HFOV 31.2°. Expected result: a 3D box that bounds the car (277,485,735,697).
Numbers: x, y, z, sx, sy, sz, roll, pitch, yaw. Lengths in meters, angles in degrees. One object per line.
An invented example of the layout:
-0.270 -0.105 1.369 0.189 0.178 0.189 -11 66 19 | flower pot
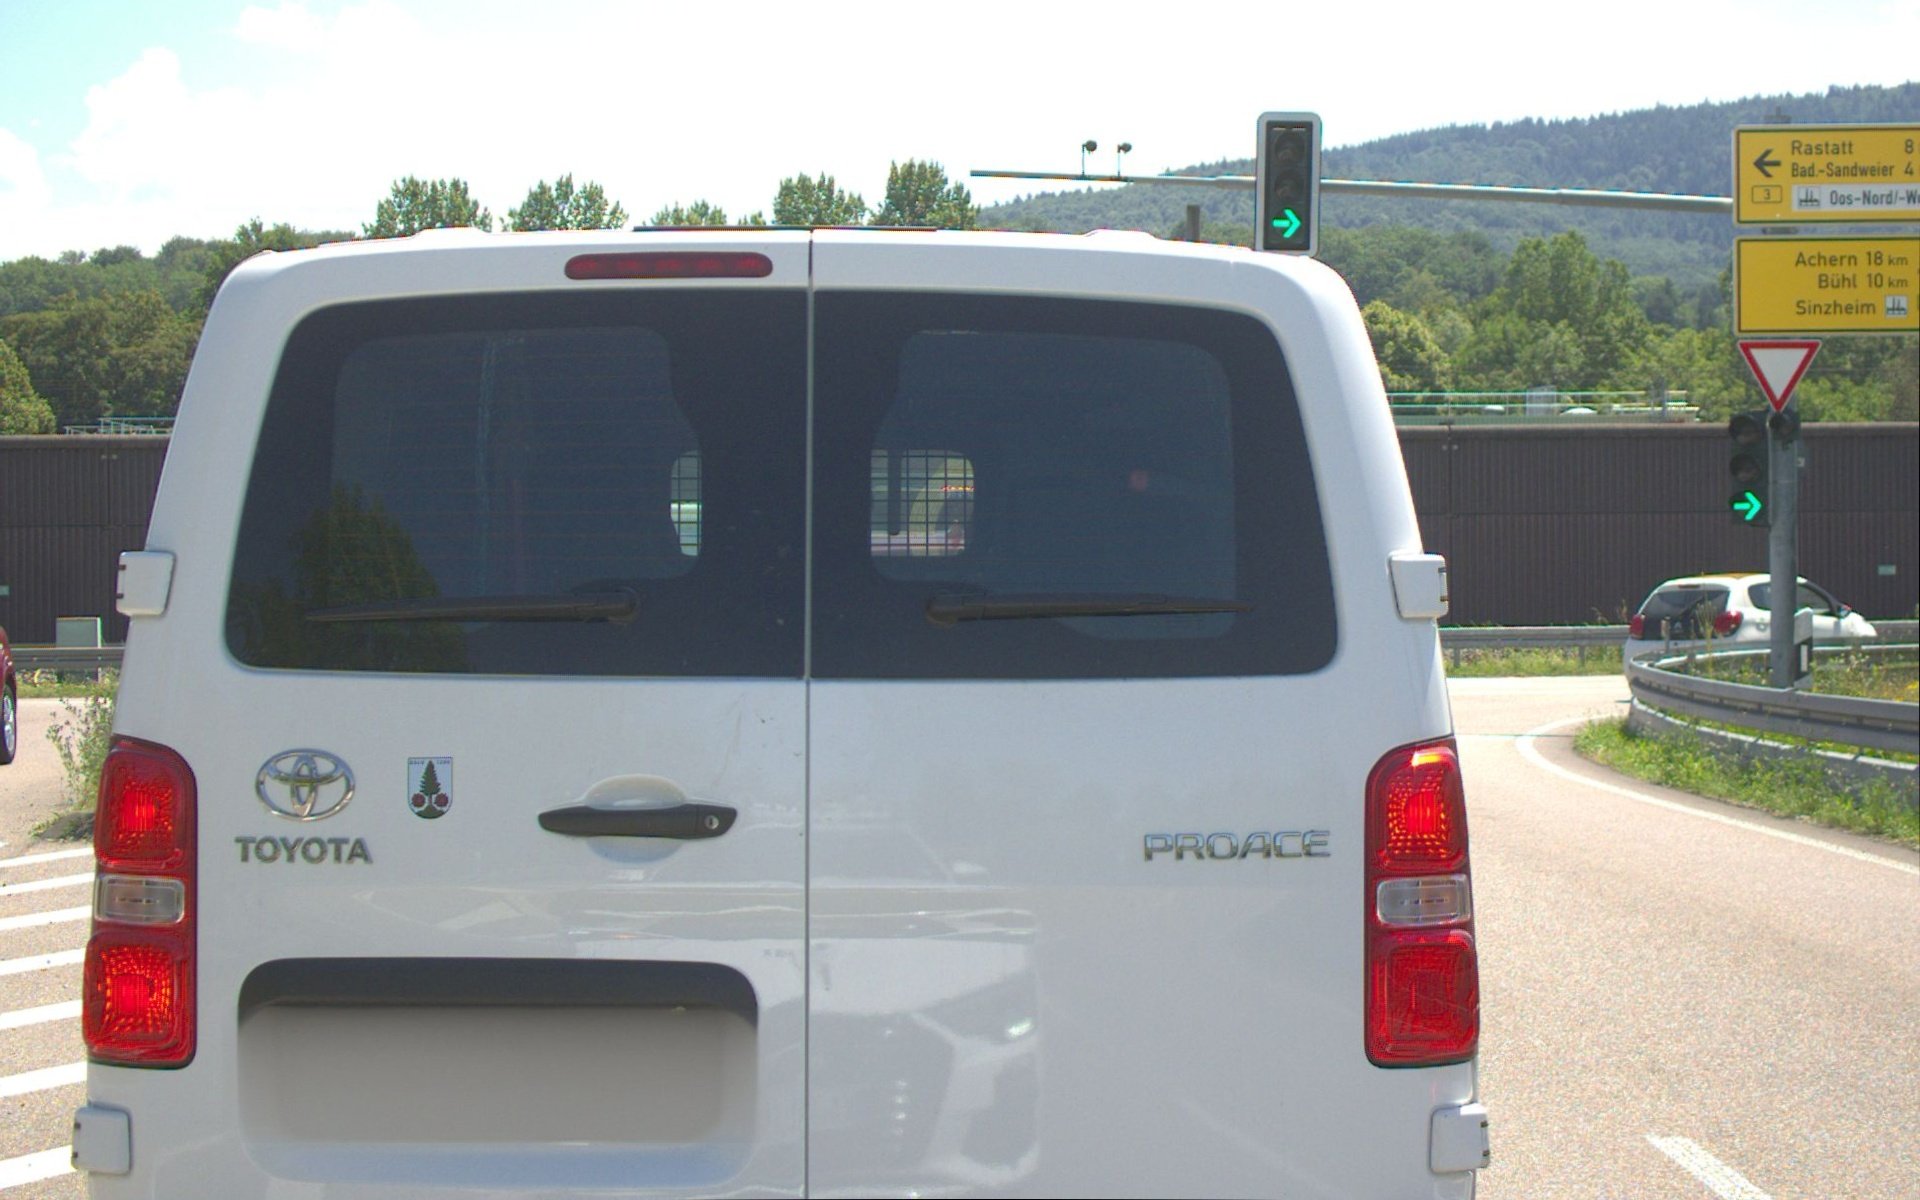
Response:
-5.493 -0.124 42.121 5.347 2.442 2.038 -1 1 -42 | car

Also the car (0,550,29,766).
-8.254 0.469 25.433 1.993 1.651 4.325 -1 1 -7 | car

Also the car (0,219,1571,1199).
-0.277 0.491 6.035 1.886 1.880 4.000 0 0 -1 | car

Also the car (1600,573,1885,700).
9.198 0.408 40.299 3.356 1.426 1.660 0 0 -43 | car
